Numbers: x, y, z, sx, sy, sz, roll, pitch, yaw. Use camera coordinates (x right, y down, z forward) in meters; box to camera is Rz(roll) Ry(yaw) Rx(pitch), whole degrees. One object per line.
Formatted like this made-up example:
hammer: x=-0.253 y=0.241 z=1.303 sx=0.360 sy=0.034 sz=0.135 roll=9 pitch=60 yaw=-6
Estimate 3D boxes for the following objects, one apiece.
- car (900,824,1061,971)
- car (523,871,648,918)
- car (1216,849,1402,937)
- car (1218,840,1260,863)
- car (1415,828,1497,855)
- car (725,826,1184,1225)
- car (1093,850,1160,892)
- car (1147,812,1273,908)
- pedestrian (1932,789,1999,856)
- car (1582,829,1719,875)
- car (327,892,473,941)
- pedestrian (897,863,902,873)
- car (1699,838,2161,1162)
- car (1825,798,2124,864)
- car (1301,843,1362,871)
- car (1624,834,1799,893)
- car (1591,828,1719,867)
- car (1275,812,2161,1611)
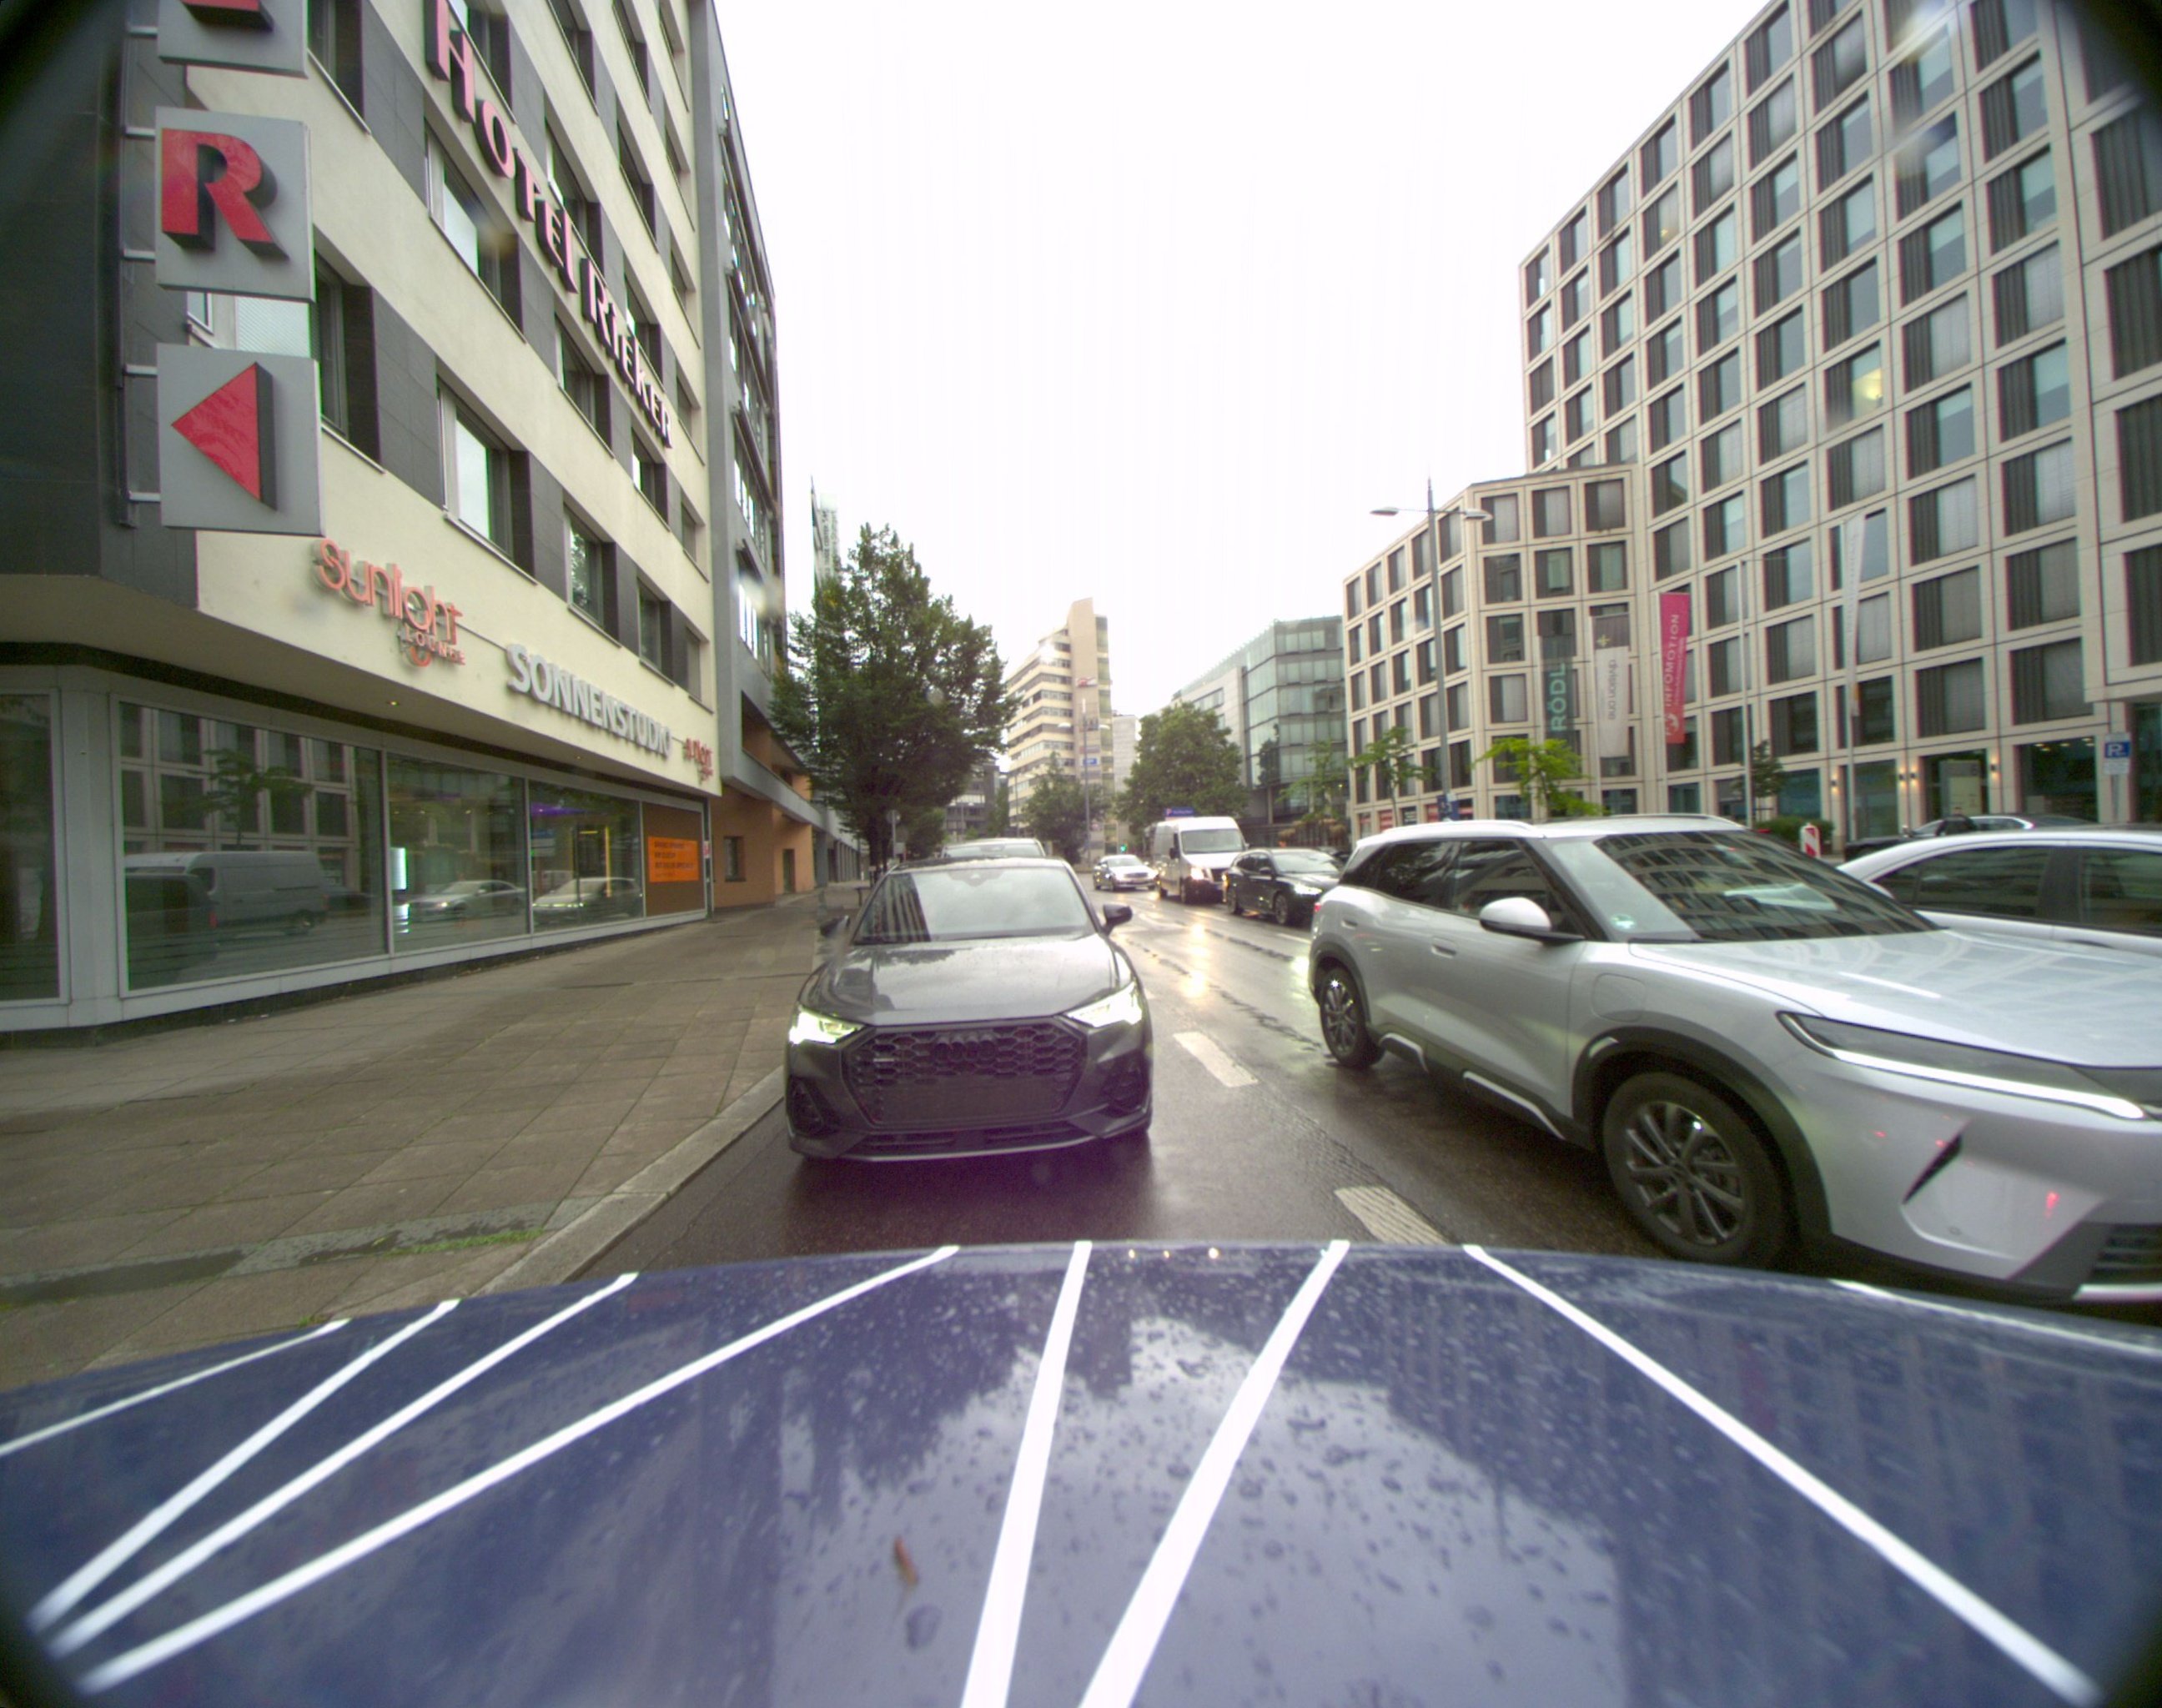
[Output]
car: x=-1.504 y=0.552 z=12.858 sx=2.060 sy=1.881 sz=5.046 roll=-3 pitch=1 yaw=-3
car: x=-16.443 y=1.297 z=25.460 sx=1.721 sy=1.187 sz=3.998 roll=-3 pitch=1 yaw=-4
car: x=4.390 y=0.663 z=15.432 sx=1.906 sy=1.393 sz=4.237 roll=-4 pitch=1 yaw=-9
car: x=15.121 y=-0.230 z=73.060 sx=2.000 sy=2.002 sz=4.910 roll=-4 pitch=1 yaw=-13
car: x=20.513 y=-0.655 z=41.756 sx=1.703 sy=1.415 sz=4.369 roll=-1 pitch=0 yaw=-12
car: x=-0.657 y=0.675 z=5.361 sx=1.802 sy=1.543 sz=4.385 roll=-3 pitch=1 yaw=-4
car: x=1.787 y=0.628 z=30.892 sx=1.786 sy=1.499 sz=3.996 roll=-4 pitch=1 yaw=-10
car: x=3.624 y=0.107 z=22.691 sx=2.260 sy=2.371 sz=5.716 roll=-3 pitch=1 yaw=-4
pedestrian: x=23.654 y=-0.832 z=20.339 sx=0.614 sy=1.724 sz=0.966 roll=-4 pitch=2 yaw=-13
car: x=20.377 y=-0.062 z=27.391 sx=1.704 sy=1.510 sz=3.683 roll=-1 pitch=0 yaw=-15
car: x=-23.732 y=2.158 z=26.615 sx=3.391 sy=1.322 sz=1.564 roll=-4 pitch=1 yaw=-15
pedestrian: x=-29.398 y=2.268 z=123.171 sx=0.654 sy=1.589 sz=1.057 roll=-4 pitch=2 yaw=-18
car: x=5.758 y=0.660 z=3.621 sx=1.738 sy=1.396 sz=4.380 roll=-4 pitch=1 yaw=-6
car: x=24.281 y=-0.561 z=21.038 sx=1.703 sy=1.560 sz=5.178 roll=-1 pitch=0 yaw=-12
car: x=14.829 y=0.172 z=45.109 sx=1.703 sy=1.510 sz=3.870 roll=-1 pitch=0 yaw=-12
car: x=17.856 y=0.238 z=21.736 sx=1.703 sy=1.510 sz=3.551 roll=-1 pitch=0 yaw=-12
car: x=22.976 y=-0.242 z=30.582 sx=1.703 sy=1.415 sz=3.951 roll=-1 pitch=0 yaw=-12
car: x=2.684 y=0.722 z=3.794 sx=1.814 sy=1.651 sz=4.167 roll=-4 pitch=1 yaw=-8
